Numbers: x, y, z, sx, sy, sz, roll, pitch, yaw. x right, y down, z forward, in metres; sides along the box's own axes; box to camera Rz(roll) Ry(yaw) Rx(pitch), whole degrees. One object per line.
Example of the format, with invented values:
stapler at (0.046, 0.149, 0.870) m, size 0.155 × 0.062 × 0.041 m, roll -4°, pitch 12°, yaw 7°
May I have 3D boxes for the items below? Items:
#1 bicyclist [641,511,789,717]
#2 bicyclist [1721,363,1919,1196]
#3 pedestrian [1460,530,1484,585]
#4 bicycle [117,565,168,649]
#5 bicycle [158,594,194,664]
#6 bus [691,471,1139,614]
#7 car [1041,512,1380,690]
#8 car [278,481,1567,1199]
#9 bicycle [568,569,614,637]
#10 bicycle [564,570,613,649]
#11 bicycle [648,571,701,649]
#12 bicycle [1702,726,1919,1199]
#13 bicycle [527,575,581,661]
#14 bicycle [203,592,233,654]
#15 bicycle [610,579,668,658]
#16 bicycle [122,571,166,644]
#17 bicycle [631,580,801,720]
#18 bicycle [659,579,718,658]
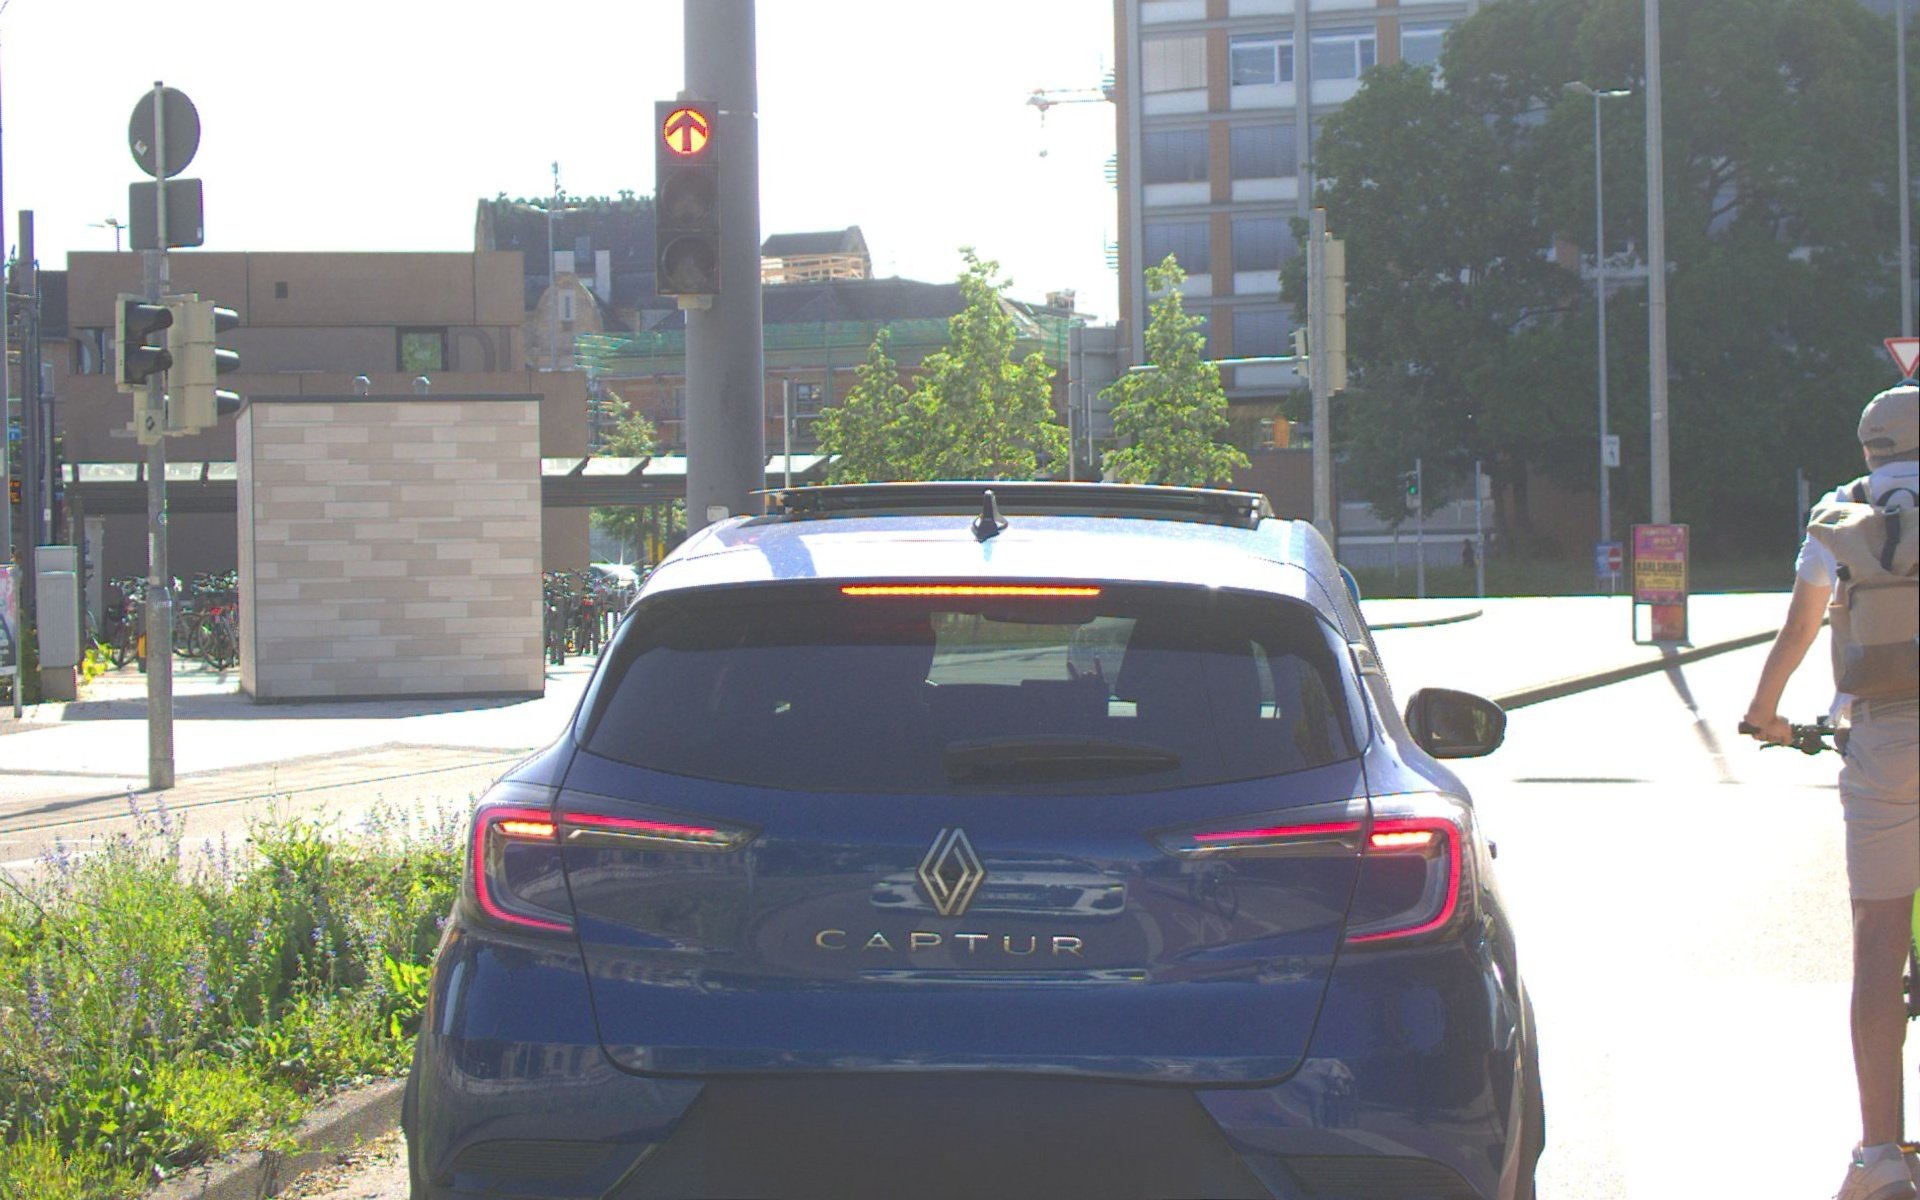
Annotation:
bicyclist at (-1.992, 0.108, 28.064) m, size 0.880 × 1.639 × 1.060 m, roll -1°, pitch 0°, yaw 14°
bicyclist at (2.094, 0.368, 7.672) m, size 0.664 × 1.741 × 1.005 m, roll 0°, pitch 1°, yaw 7°
pedestrian at (15.560, -1.280, 104.389) m, size 0.561 × 1.664 × 0.475 m, roll 0°, pitch -1°, yaw 37°
bicycle at (-10.910, 0.094, 45.913) m, size 0.565 × 1.090 × 2.030 m, roll 0°, pitch 0°, yaw -11°
bicycle at (-10.861, 0.399, 47.635) m, size 0.421 × 0.934 × 1.306 m, roll 1°, pitch 0°, yaw -15°
bus at (-1.321, -1.366, 86.816) m, size 12.434 × 3.384 × 2.876 m, roll 0°, pitch 0°, yaw 40°
car at (2.282, -0.027, 30.232) m, size 1.802 × 1.388 × 4.089 m, roll -1°, pitch 2°, yaw 22°
car at (0.093, 0.606, 6.689) m, size 1.823 × 1.594 × 3.658 m, roll 1°, pitch 1°, yaw 5°
bicycle at (-6.030, 0.052, 56.172) m, size 0.580 × 1.084 × 1.872 m, roll 0°, pitch 0°, yaw -11°
bicycle at (-5.267, 0.139, 48.698) m, size 0.580 × 1.084 × 2.059 m, roll 0°, pitch 0°, yaw -9°
bicycle at (-4.058, 0.143, 48.770) m, size 0.580 × 1.084 × 2.059 m, roll 0°, pitch 0°, yaw -9°
bicycle at (2.115, 0.858, 7.782) m, size 0.663 × 1.043 × 1.890 m, roll 0°, pitch 1°, yaw 6°
bicycle at (-5.044, 0.223, 42.664) m, size 0.580 × 1.054 × 1.817 m, roll 0°, pitch 0°, yaw -9°
bicycle at (-11.360, 0.346, 52.657) m, size 0.421 × 0.934 × 1.379 m, roll 1°, pitch 0°, yaw -11°
bicycle at (-4.027, 0.228, 43.039) m, size 0.580 × 0.958 × 2.059 m, roll 0°, pitch 0°, yaw -9°
bicycle at (-12.383, 0.119, 52.222) m, size 0.565 × 1.090 × 2.030 m, roll 0°, pitch 0°, yaw -11°
bicycle at (-1.969, 0.390, 28.060) m, size 0.773 × 1.077 × 2.034 m, roll -1°, pitch 0°, yaw 14°
bicycle at (-3.415, 0.231, 43.126) m, size 0.580 × 0.958 × 2.059 m, roll 0°, pitch 0°, yaw -9°
